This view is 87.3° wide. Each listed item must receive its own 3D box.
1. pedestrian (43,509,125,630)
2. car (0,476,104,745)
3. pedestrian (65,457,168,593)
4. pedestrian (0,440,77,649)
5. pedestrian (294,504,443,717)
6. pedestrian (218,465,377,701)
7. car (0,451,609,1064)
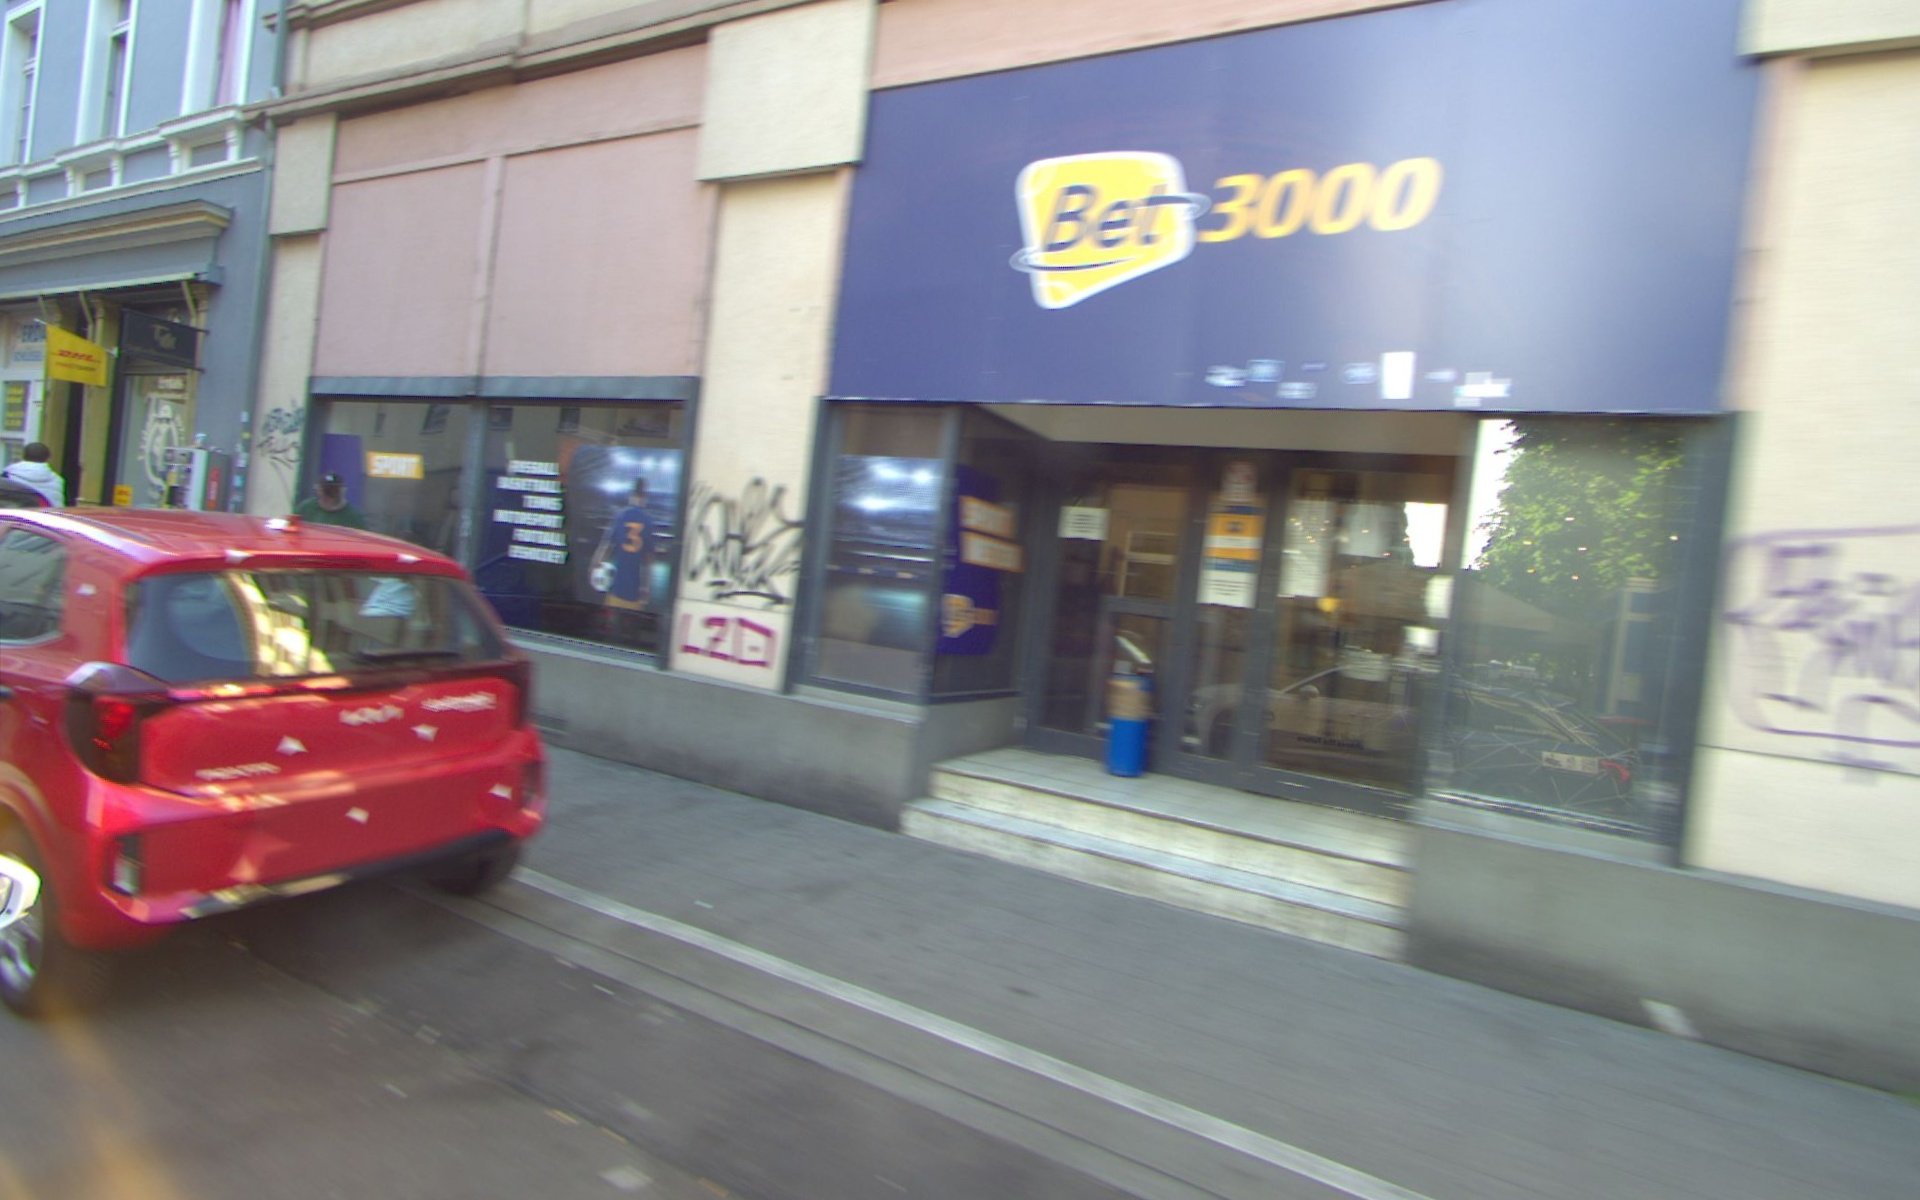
[{"bbox_3d":[-9.519,-0.334,10.939,0.506,1.237,0.439,6,0,31],"label":"pedestrian"},{"bbox_3d":[-7.144,-0.083,6.442,3.259,1.578,1.569,6,3,31],"label":"car"},{"bbox_3d":[-8.309,-0.723,9.931,0.524,1.237,0.512,7,0,-21],"label":"pedestrian"},{"bbox_3d":[-8.292,-0.482,8.843,0.421,1.761,0.561,6,0,34],"label":"pedestrian"},{"bbox_3d":[-4.611,0.088,7.861,0.647,1.548,0.589,6,0,24],"label":"pedestrian"},{"bbox_3d":[-5.282,-0.121,8.041,0.646,1.761,0.631,6,0,16],"label":"pedestrian"},{"bbox_3d":[-3.398,0.324,4.180,3.493,1.591,1.610,6,-1,29],"label":"car"}]
